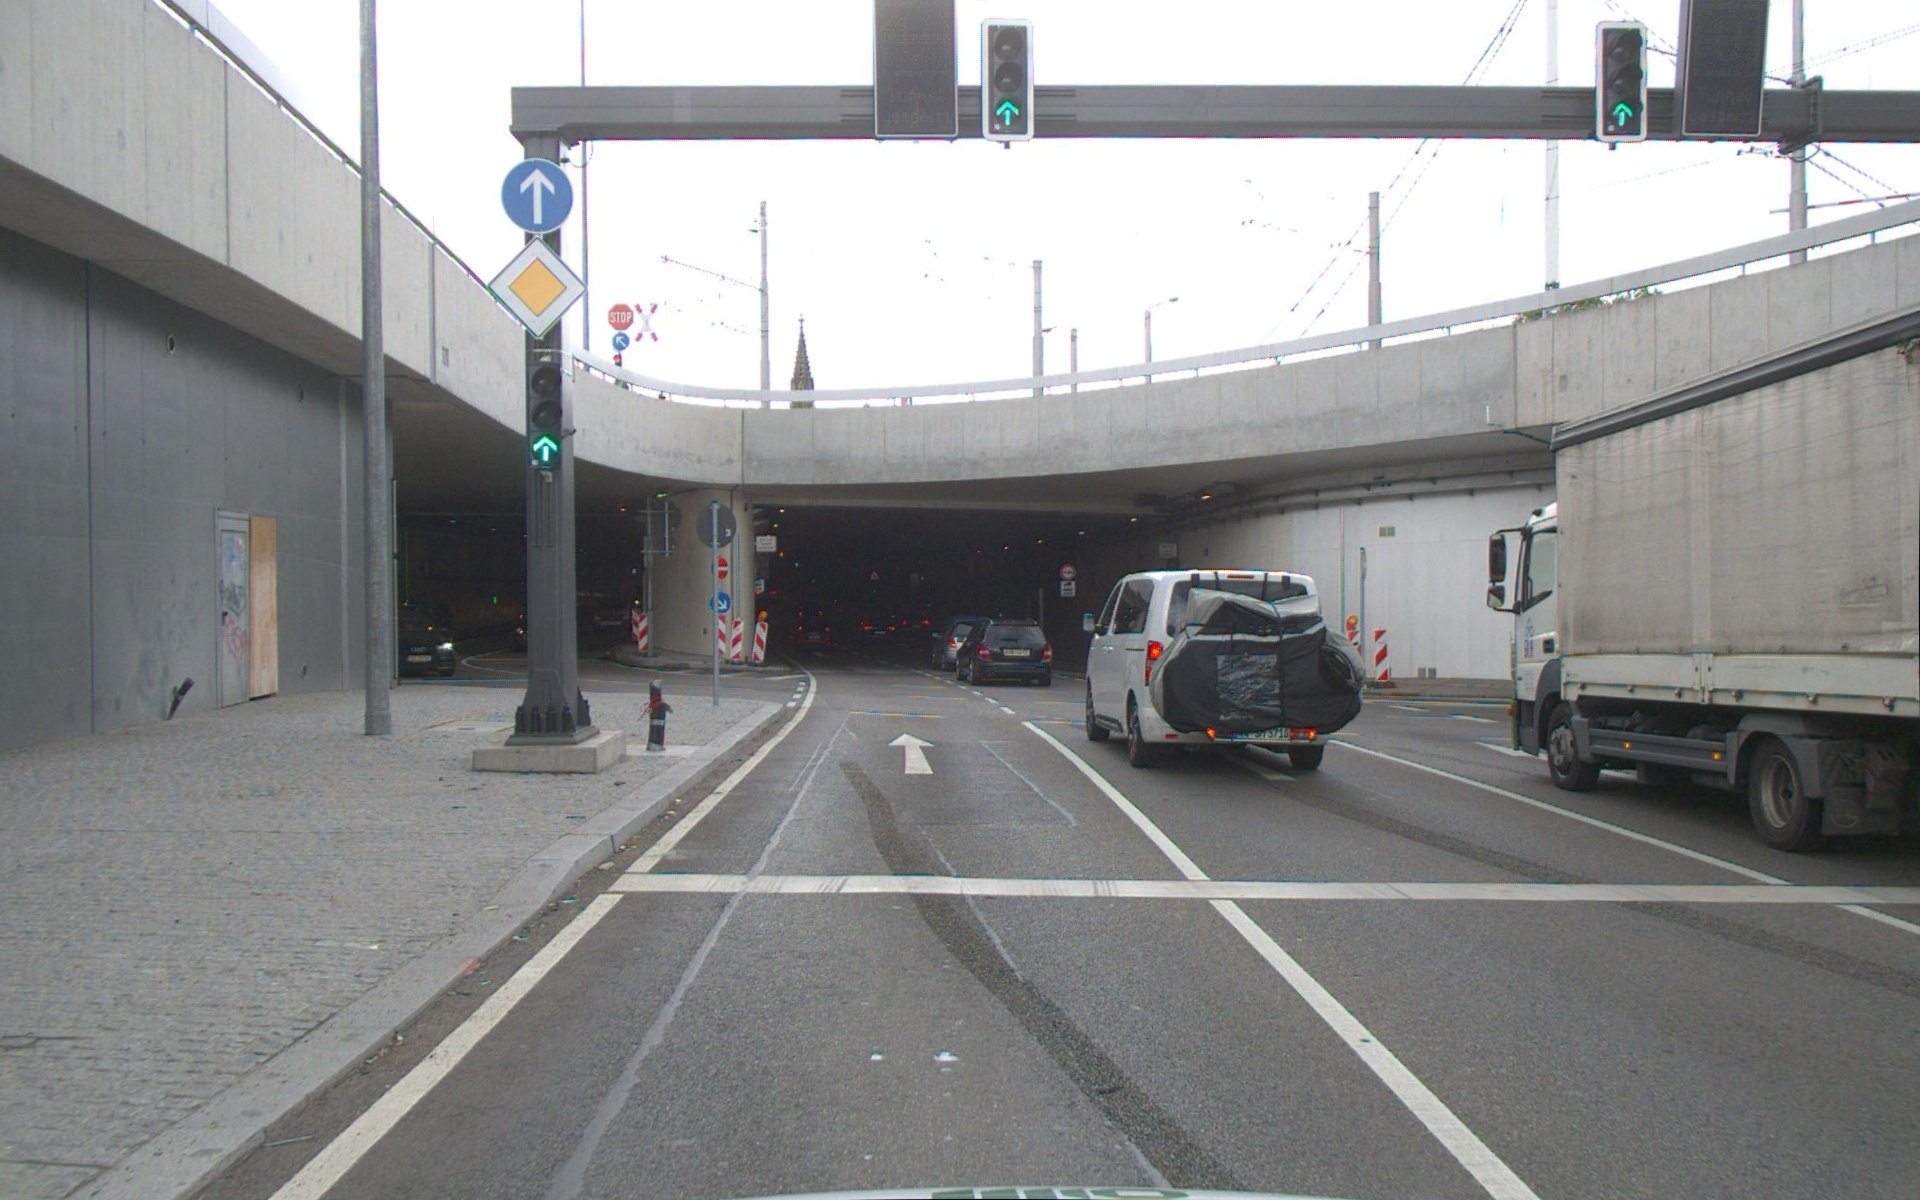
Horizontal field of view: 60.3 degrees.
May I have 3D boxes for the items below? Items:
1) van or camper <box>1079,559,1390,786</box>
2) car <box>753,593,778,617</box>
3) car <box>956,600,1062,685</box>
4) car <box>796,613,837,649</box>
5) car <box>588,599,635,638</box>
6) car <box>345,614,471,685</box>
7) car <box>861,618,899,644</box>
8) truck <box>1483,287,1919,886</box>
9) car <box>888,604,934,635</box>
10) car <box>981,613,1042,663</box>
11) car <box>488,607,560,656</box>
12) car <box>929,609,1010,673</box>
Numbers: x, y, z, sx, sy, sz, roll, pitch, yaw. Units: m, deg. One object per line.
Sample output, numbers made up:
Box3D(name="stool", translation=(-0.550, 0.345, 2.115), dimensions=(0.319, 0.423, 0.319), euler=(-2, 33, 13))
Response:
Box3D(name="van or camper", translation=(2.537, 0.676, 16.773), dimensions=(1.954, 1.877, 5.504), euler=(1, -1, -3))
Box3D(name="car", translation=(-17.129, 0.414, 145.243), dimensions=(1.957, 2.049, 3.990), euler=(0, 0, -10))
Box3D(name="car", translation=(1.012, 0.911, 36.240), dimensions=(1.784, 1.713, 3.994), euler=(1, -1, -6))
Box3D(name="car", translation=(-6.318, 1.343, 72.434), dimensions=(1.629, 1.514, 3.560), euler=(0, -1, -8))
Box3D(name="car", translation=(-15.860, 0.809, 75.434), dimensions=(1.774, 1.632, 4.779), euler=(0, 1, -8))
Box3D(name="car", translation=(-12.424, 1.052, 37.028), dimensions=(1.830, 1.468, 4.796), euler=(0, 0, -29))
Box3D(name="car", translation=(-3.986, 1.534, 82.059), dimensions=(1.632, 1.269, 3.560), euler=(0, -1, -8))
Box3D(name="truck", translation=(6.415, -0.081, 12.216), dimensions=(2.596, 3.241, 7.424), euler=(0, 0, -1))
Box3D(name="car", translation=(-2.808, 1.130, 93.344), dimensions=(1.954, 1.705, 4.496), euler=(0, -1, -10))
Box3D(name="car", translation=(1.884, 1.388, 61.928), dimensions=(1.629, 1.662, 3.561), euler=(4, 0, -8))
Box3D(name="car", translation=(-14.230, 0.988, 53.874), dimensions=(1.643, 1.466, 4.082), euler=(0, 0, -24))
Box3D(name="car", translation=(0.234, 1.137, 47.836), dimensions=(1.784, 1.608, 3.995), euler=(4, 0, -6))
